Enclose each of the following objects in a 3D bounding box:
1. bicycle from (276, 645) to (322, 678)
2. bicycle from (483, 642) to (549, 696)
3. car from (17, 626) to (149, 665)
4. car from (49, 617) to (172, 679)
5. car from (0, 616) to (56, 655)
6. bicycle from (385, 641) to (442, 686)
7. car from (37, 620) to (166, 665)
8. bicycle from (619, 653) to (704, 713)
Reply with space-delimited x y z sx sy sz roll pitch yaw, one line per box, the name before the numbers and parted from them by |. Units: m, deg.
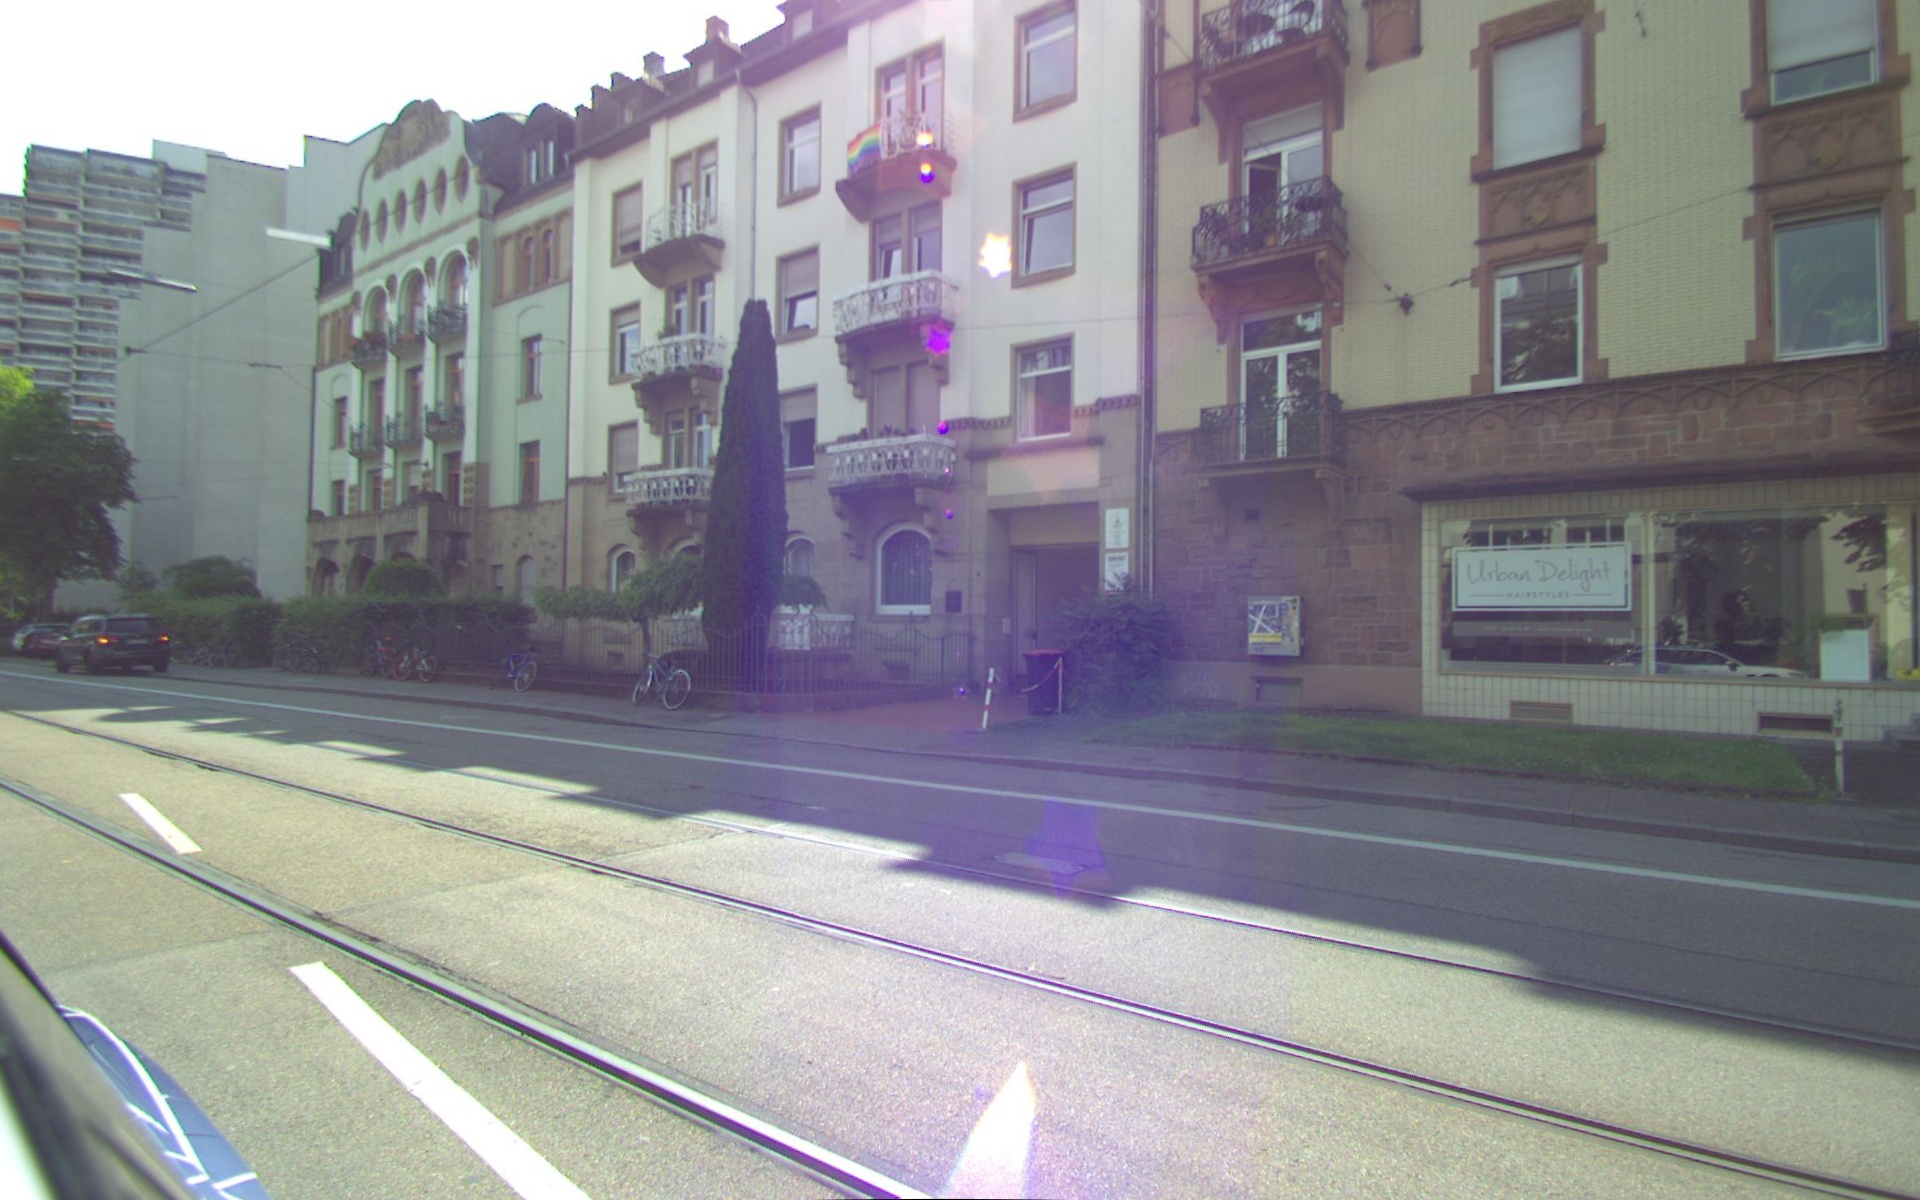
bicycle | -18.072 1.663 27.637 1.872 0.803 0.579 0 1 42
bicycle | -9.433 1.443 21.490 1.872 1.037 0.532 0 -2 42
car | -35.977 1.859 41.597 1.633 1.547 3.841 -1 -3 39
car | -25.022 1.374 29.775 4.323 1.724 1.775 -1 -3 37
car | -48.846 1.794 51.496 1.829 1.940 3.947 -1 -3 39
bicycle | -13.054 1.494 24.150 1.872 0.993 0.579 0 -2 42
car | -33.680 1.652 39.792 1.608 1.652 3.587 -1 -2 37
bicycle | -5.399 1.474 18.242 2.068 0.913 0.517 1 -1 45
